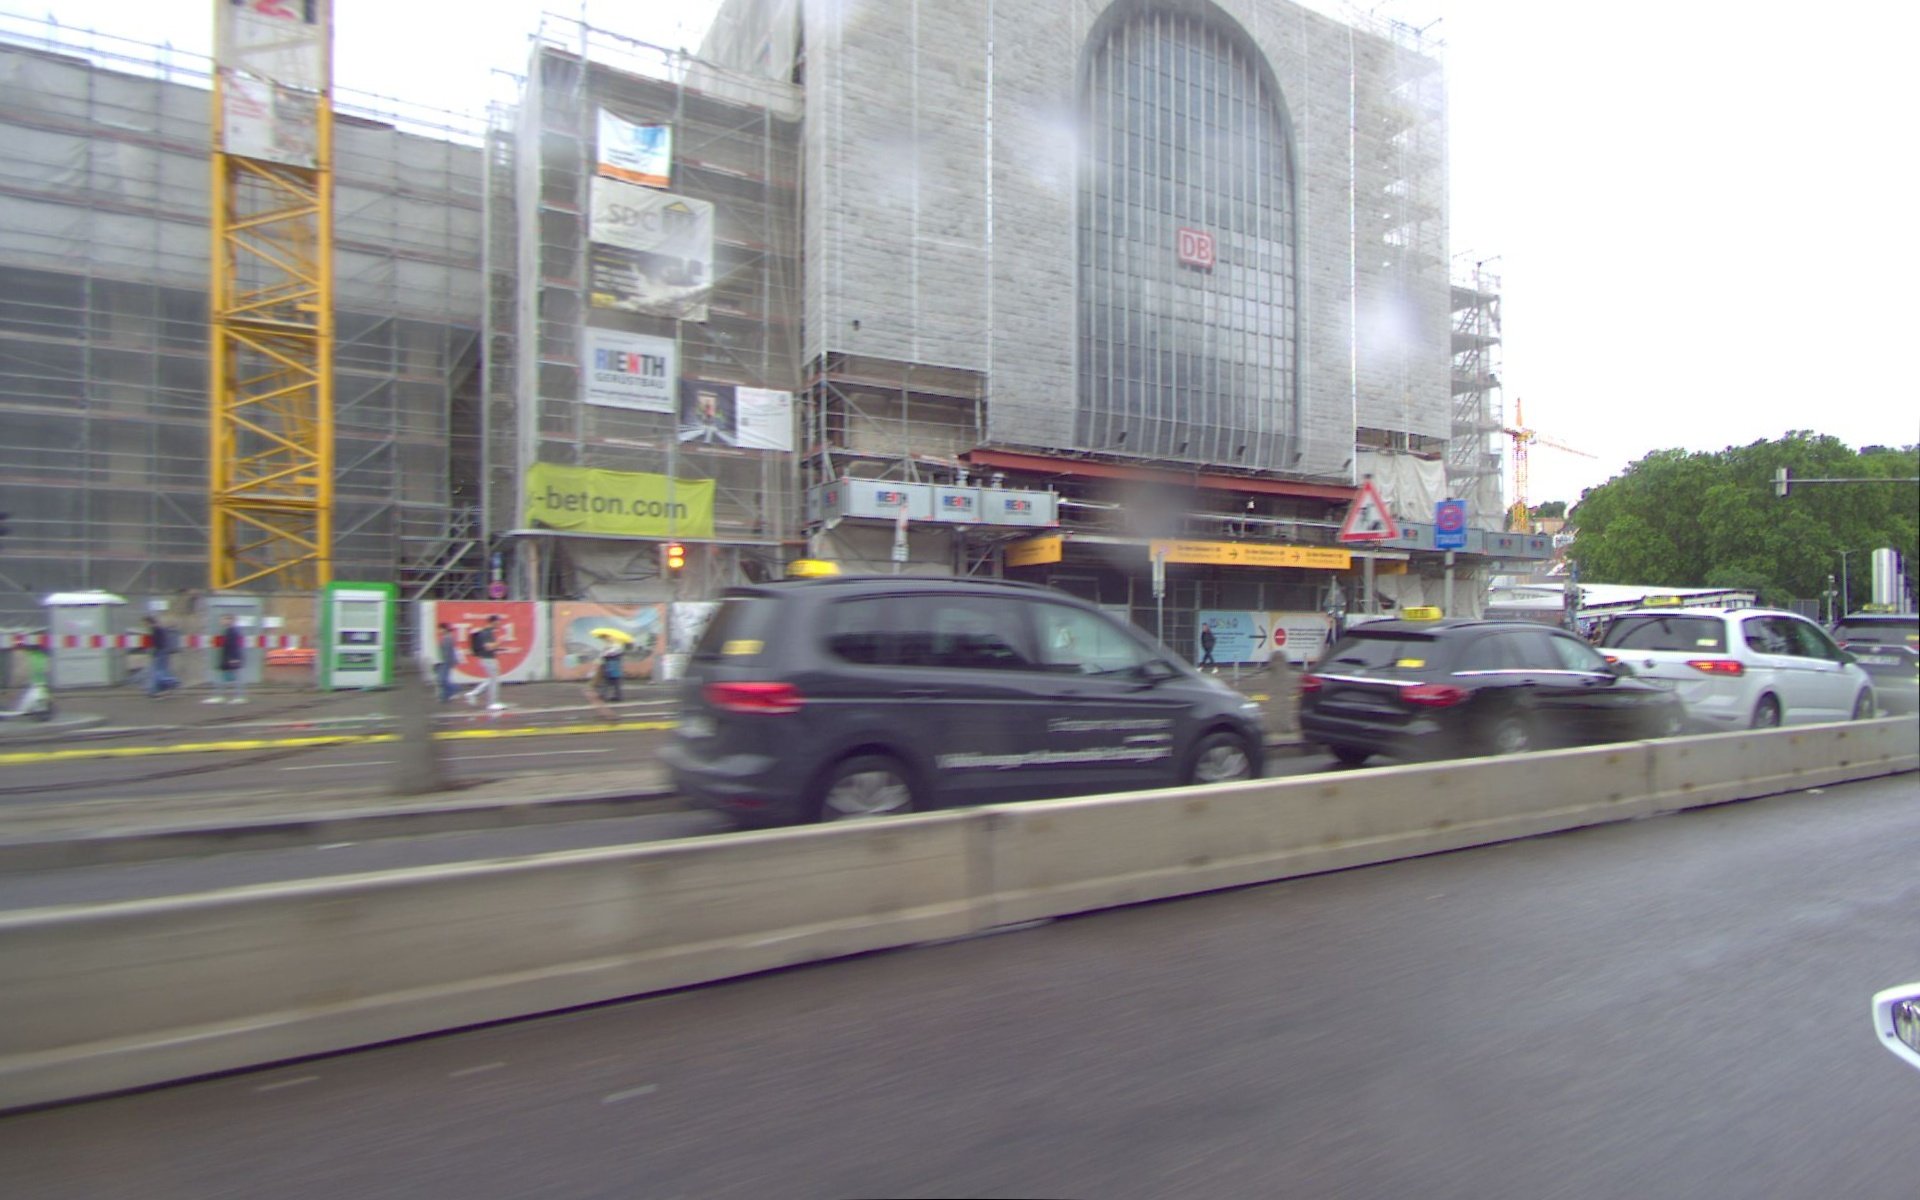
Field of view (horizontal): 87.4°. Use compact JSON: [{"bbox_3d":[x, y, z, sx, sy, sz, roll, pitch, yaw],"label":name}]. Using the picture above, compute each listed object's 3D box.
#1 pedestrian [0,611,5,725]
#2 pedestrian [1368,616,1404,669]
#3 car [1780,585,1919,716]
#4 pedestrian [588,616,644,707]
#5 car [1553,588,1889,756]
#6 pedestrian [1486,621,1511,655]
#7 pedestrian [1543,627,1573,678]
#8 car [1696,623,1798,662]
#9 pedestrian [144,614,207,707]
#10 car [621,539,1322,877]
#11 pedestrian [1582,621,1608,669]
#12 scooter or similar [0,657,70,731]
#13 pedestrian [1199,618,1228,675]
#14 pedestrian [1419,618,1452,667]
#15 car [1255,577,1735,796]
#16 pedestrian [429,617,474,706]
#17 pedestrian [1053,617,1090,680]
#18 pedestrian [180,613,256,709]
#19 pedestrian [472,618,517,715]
[{"bbox_3d":[-15.979,1.114,16.358,0.500,1.865,0.339,0,-1,-14],"label":"pedestrian"},{"bbox_3d":[15.213,1.519,35.871,0.926,1.865,0.814,1,-1,-30],"label":"pedestrian"},{"bbox_3d":[14.990,0.752,15.610,4.792,1.810,1.984,1,-2,-31],"label":"car"},{"bbox_3d":[-7.276,1.268,21.224,0.833,1.865,0.867,1,-1,-43],"label":"pedestrian"},{"bbox_3d":[9.758,0.833,12.814,4.404,1.810,1.983,1,-2,-32],"label":"car"},{"bbox_3d":[30.074,2.137,56.138,0.830,1.906,1.015,3,-3,-42],"label":"pedestrian"},{"bbox_3d":[21.846,1.904,36.691,0.767,1.865,0.635,1,-1,-32],"label":"pedestrian"},{"bbox_3d":[32.499,1.745,41.472,3.952,1.487,1.984,2,-1,-30],"label":"car"},{"bbox_3d":[-16.178,1.224,20.732,0.839,1.865,0.800,1,-1,-26],"label":"pedestrian"},{"bbox_3d":[0.201,0.595,7.041,4.588,1.675,1.984,1,-2,-31],"label":"car"},{"bbox_3d":[25.038,1.752,39.616,0.522,1.865,0.694,1,-1,-31],"label":"pedestrian"},{"bbox_3d":[-14.409,1.422,15.373,1.215,1.080,0.460,0,-1,6],"label":"scooter or similar"},{"bbox_3d":[8.338,1.522,33.037,0.764,1.865,0.532,1,-1,-36],"label":"pedestrian"},{"bbox_3d":[18.171,1.610,38.385,0.982,1.865,0.723,1,-1,-30],"label":"pedestrian"},{"bbox_3d":[5.501,0.749,10.141,4.998,1.734,2.039,1,-2,-32],"label":"car"},{"bbox_3d":[-10.842,1.291,21.417,0.699,1.865,0.565,1,-1,-43],"label":"pedestrian"},{"bbox_3d":[3.372,1.449,30.447,0.829,1.865,0.764,1,-1,-43],"label":"pedestrian"},{"bbox_3d":[-14.702,1.186,19.941,1.044,1.865,0.836,1,-1,-26],"label":"pedestrian"},{"bbox_3d":[-9.102,1.280,19.643,0.697,1.865,0.504,1,-1,-35],"label":"pedestrian"}]
